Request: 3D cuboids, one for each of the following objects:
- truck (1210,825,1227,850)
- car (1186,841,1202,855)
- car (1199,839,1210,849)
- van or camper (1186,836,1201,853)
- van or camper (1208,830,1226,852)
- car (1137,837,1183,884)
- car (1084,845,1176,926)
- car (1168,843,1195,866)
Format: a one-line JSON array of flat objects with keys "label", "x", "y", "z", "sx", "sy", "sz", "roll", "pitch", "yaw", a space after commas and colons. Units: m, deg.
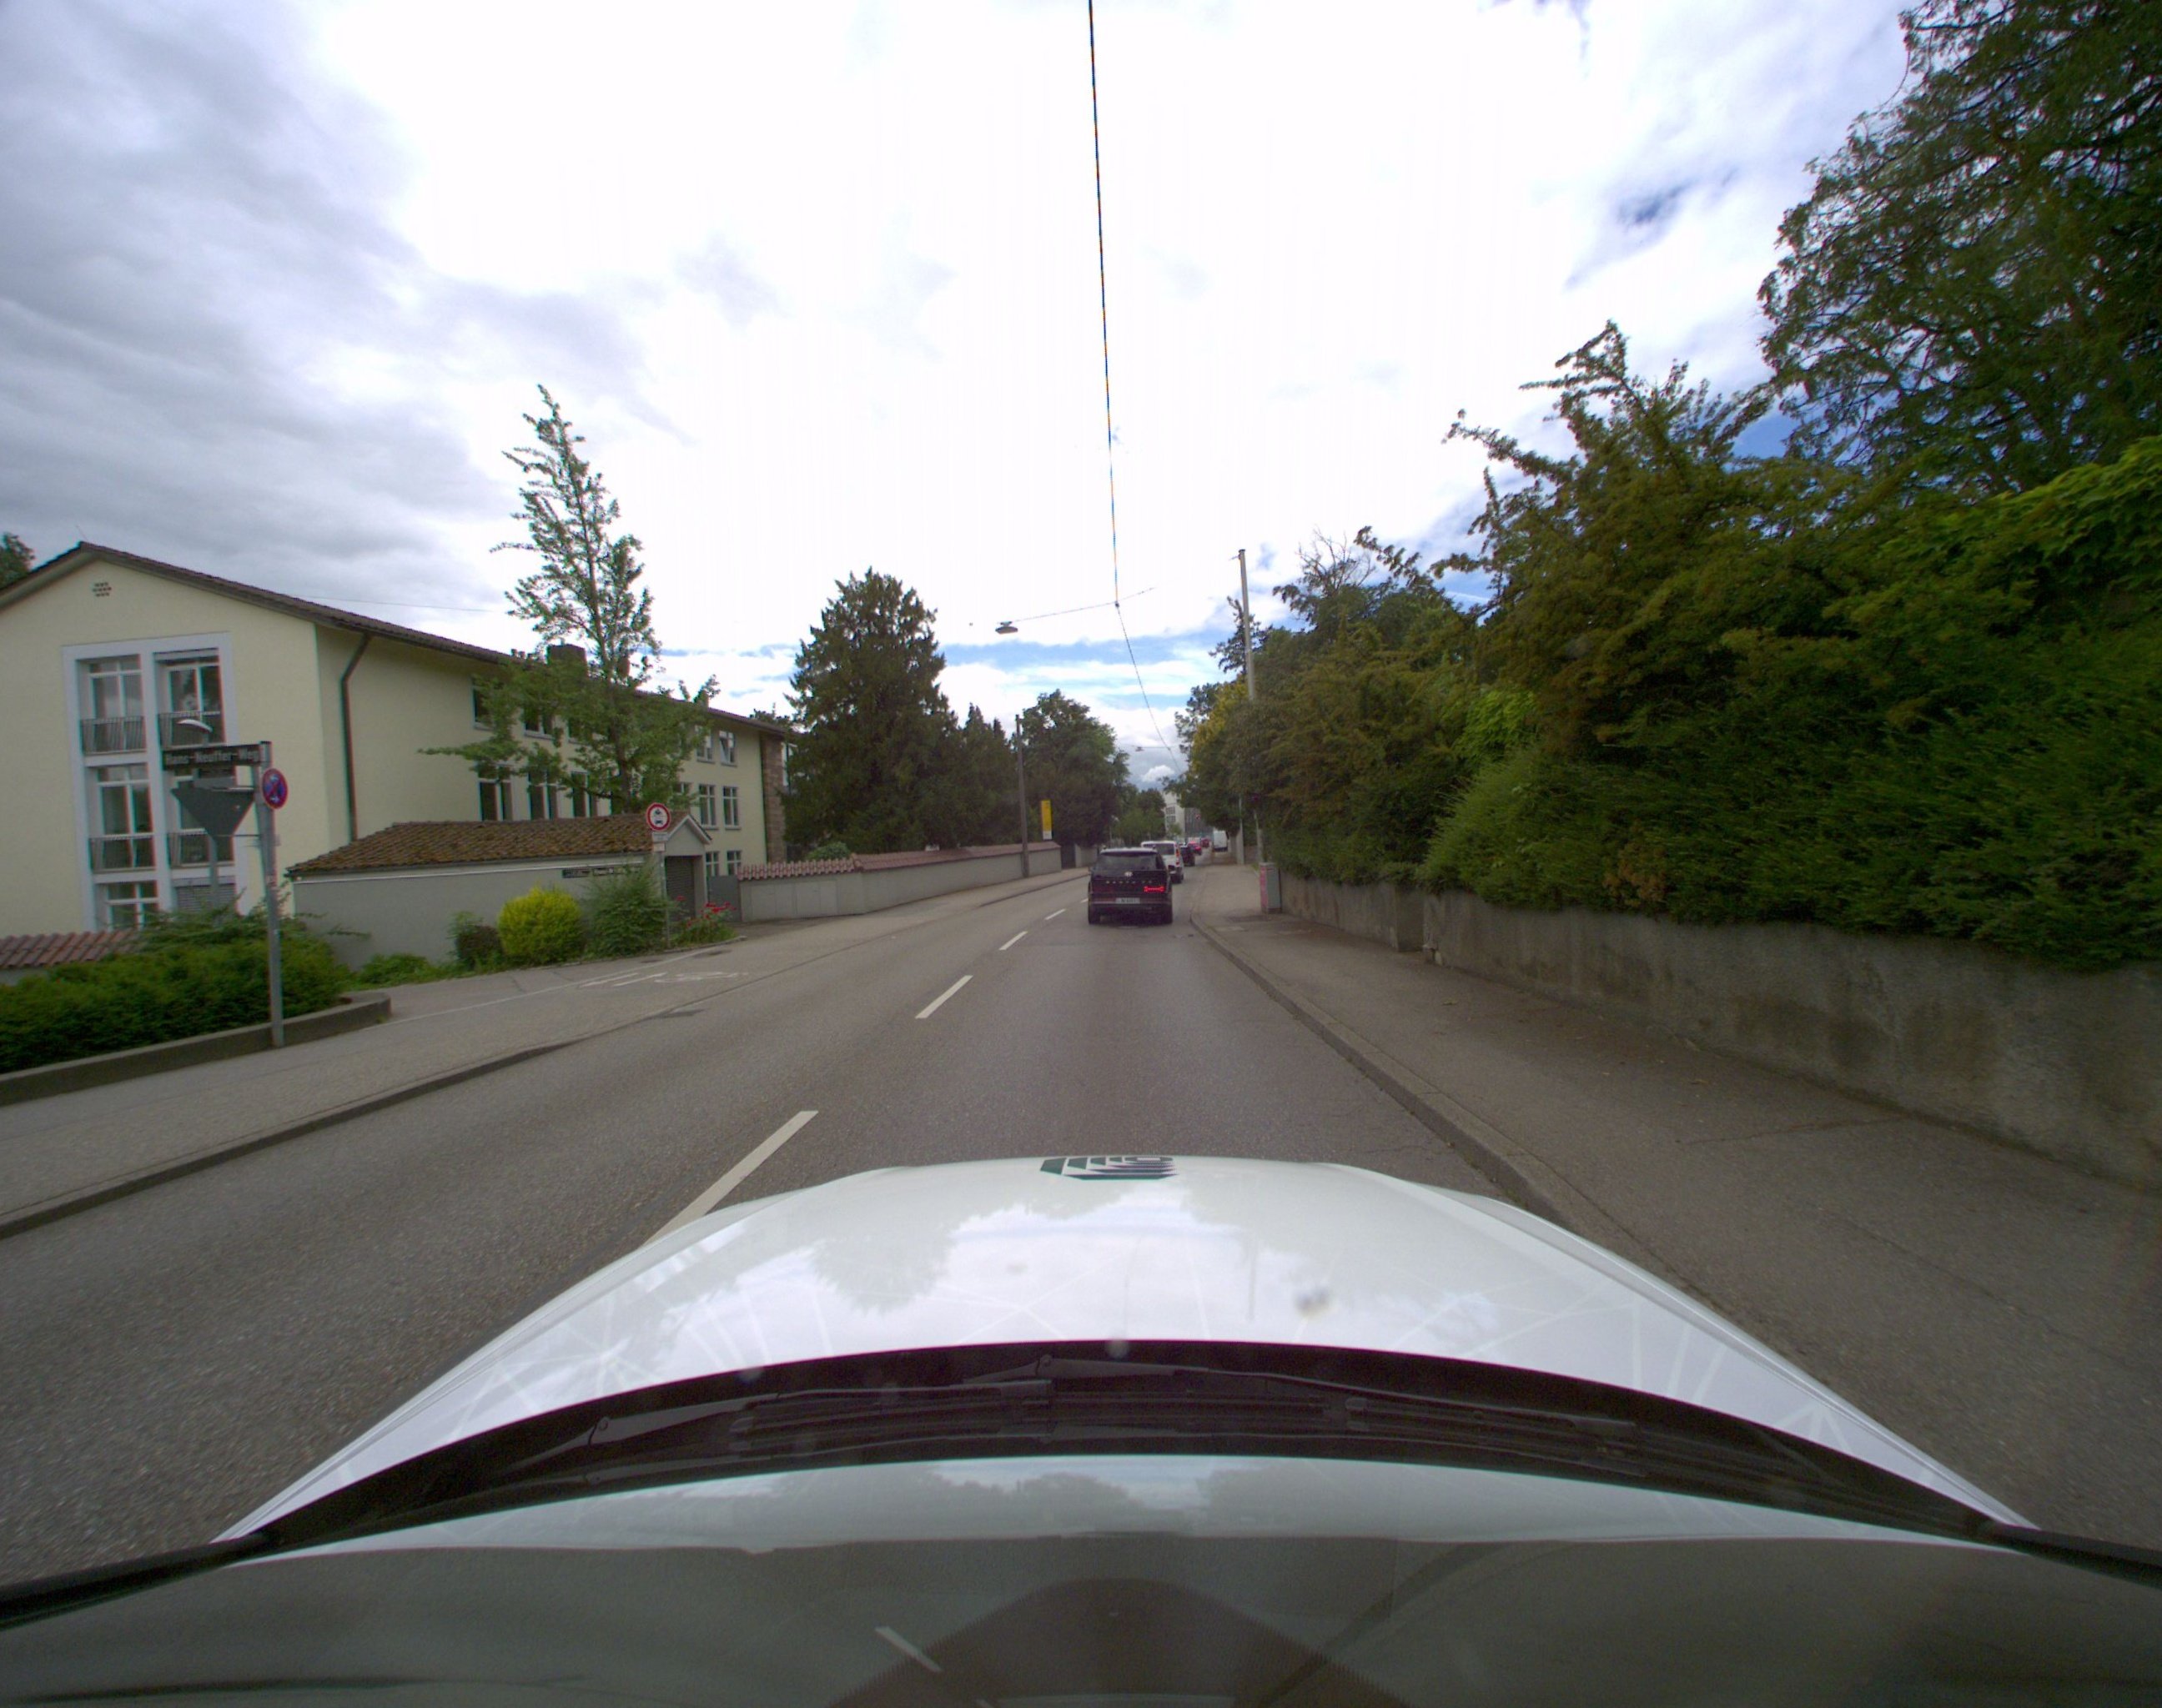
[{"label": "truck", "x": 20.906, "y": -2.537, "z": 123.922, "sx": 2.266, "sy": 3.439, "sz": 5.993, "roll": -3, "pitch": 1, "yaw": 10}, {"label": "car", "x": 12.756, "y": -0.711, "z": 91.880, "sx": 1.665, "sy": 1.422, "sz": 3.949, "roll": -3, "pitch": 1, "yaw": 10}, {"label": "car", "x": 20.900, "y": -1.709, "z": 138.032, "sx": 1.665, "sy": 1.541, "sz": 3.949, "roll": -3, "pitch": 1, "yaw": 10}, {"label": "van or camper", "x": 14.551, "y": -1.198, "z": 104.841, "sx": 1.665, "sy": 2.007, "sz": 3.949, "roll": -3, "pitch": 1, "yaw": 10}, {"label": "van or camper", "x": 17.515, "y": -1.675, "z": 104.773, "sx": 2.031, "sy": 2.578, "sz": 5.264, "roll": -3, "pitch": 1, "yaw": 10}, {"label": "car", "x": 3.636, "y": 0.240, "z": 36.916, "sx": 1.946, "sy": 1.955, "sz": 4.232, "roll": 0, "pitch": 1, "yaw": 7}, {"label": "car", "x": 1.109, "y": 0.668, "z": 19.412, "sx": 1.950, "sy": 1.713, "sz": 4.225, "roll": 0, "pitch": 0, "yaw": 2}, {"label": "car", "x": 7.253, "y": 0.036, "z": 58.401, "sx": 1.665, "sy": 1.422, "sz": 3.948, "roll": -3, "pitch": 1, "yaw": 9}]
